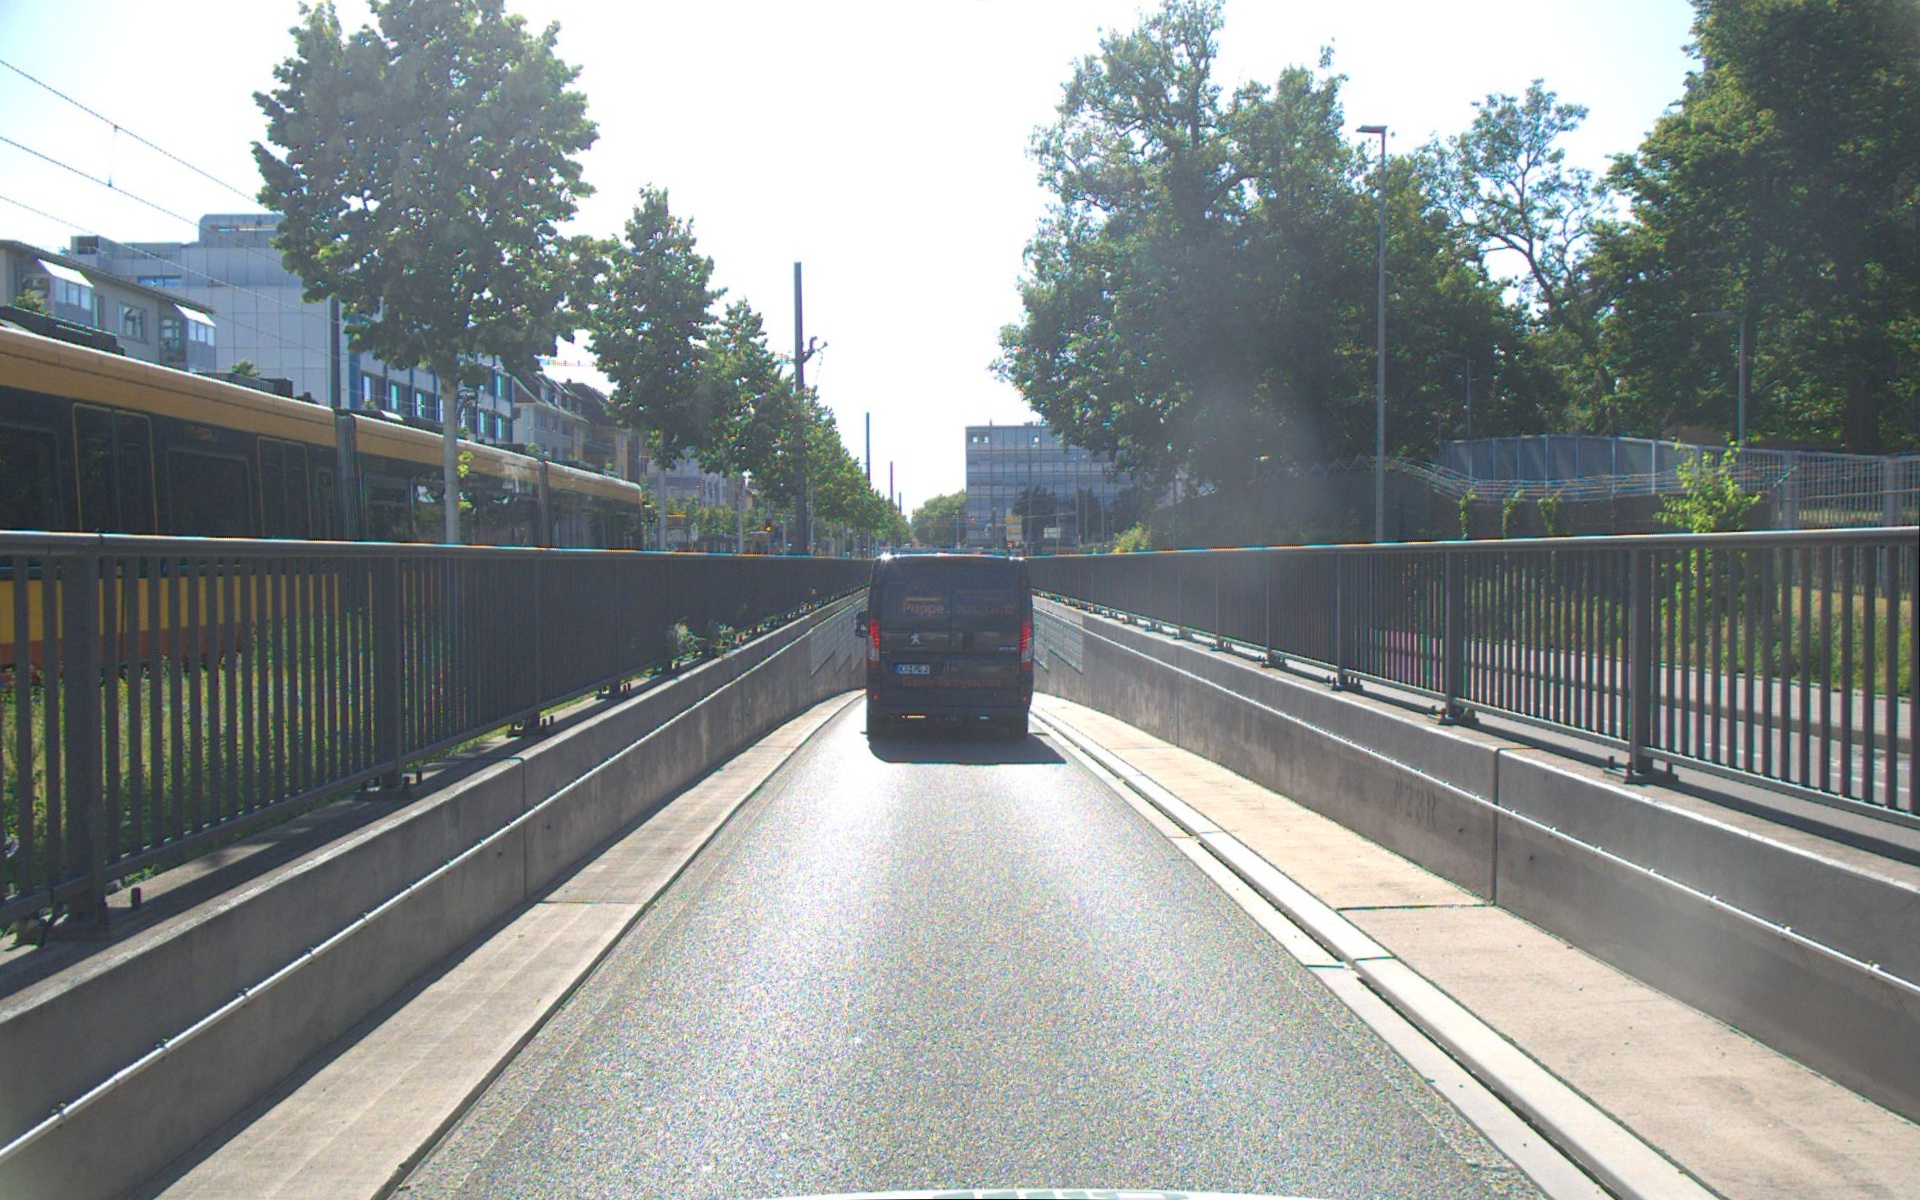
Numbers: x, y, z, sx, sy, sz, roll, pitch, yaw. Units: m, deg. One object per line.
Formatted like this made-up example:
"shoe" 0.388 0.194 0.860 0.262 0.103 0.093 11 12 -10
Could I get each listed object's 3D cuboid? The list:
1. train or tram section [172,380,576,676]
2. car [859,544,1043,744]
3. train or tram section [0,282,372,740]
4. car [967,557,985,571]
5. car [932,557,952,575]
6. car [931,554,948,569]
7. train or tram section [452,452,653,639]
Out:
"train or tram section" -9.343 -1.042 28.630 2.558 3.888 13.088 1 1 -1
"car" -0.119 0.563 21.489 2.114 2.306 4.635 1 -1 0
"train or tram section" -9.112 -0.765 15.514 2.557 3.720 13.340 1 1 -1
"car" 1.754 -3.971 181.862 1.705 1.446 3.999 0 1 -2
"car" -1.670 -3.119 150.032 1.705 1.589 3.999 0 1 -2
"car" -2.219 -4.111 178.850 1.705 1.589 3.999 0 1 -2
"train or tram section" -9.590 -1.220 40.186 2.559 3.921 9.969 1 1 -1
